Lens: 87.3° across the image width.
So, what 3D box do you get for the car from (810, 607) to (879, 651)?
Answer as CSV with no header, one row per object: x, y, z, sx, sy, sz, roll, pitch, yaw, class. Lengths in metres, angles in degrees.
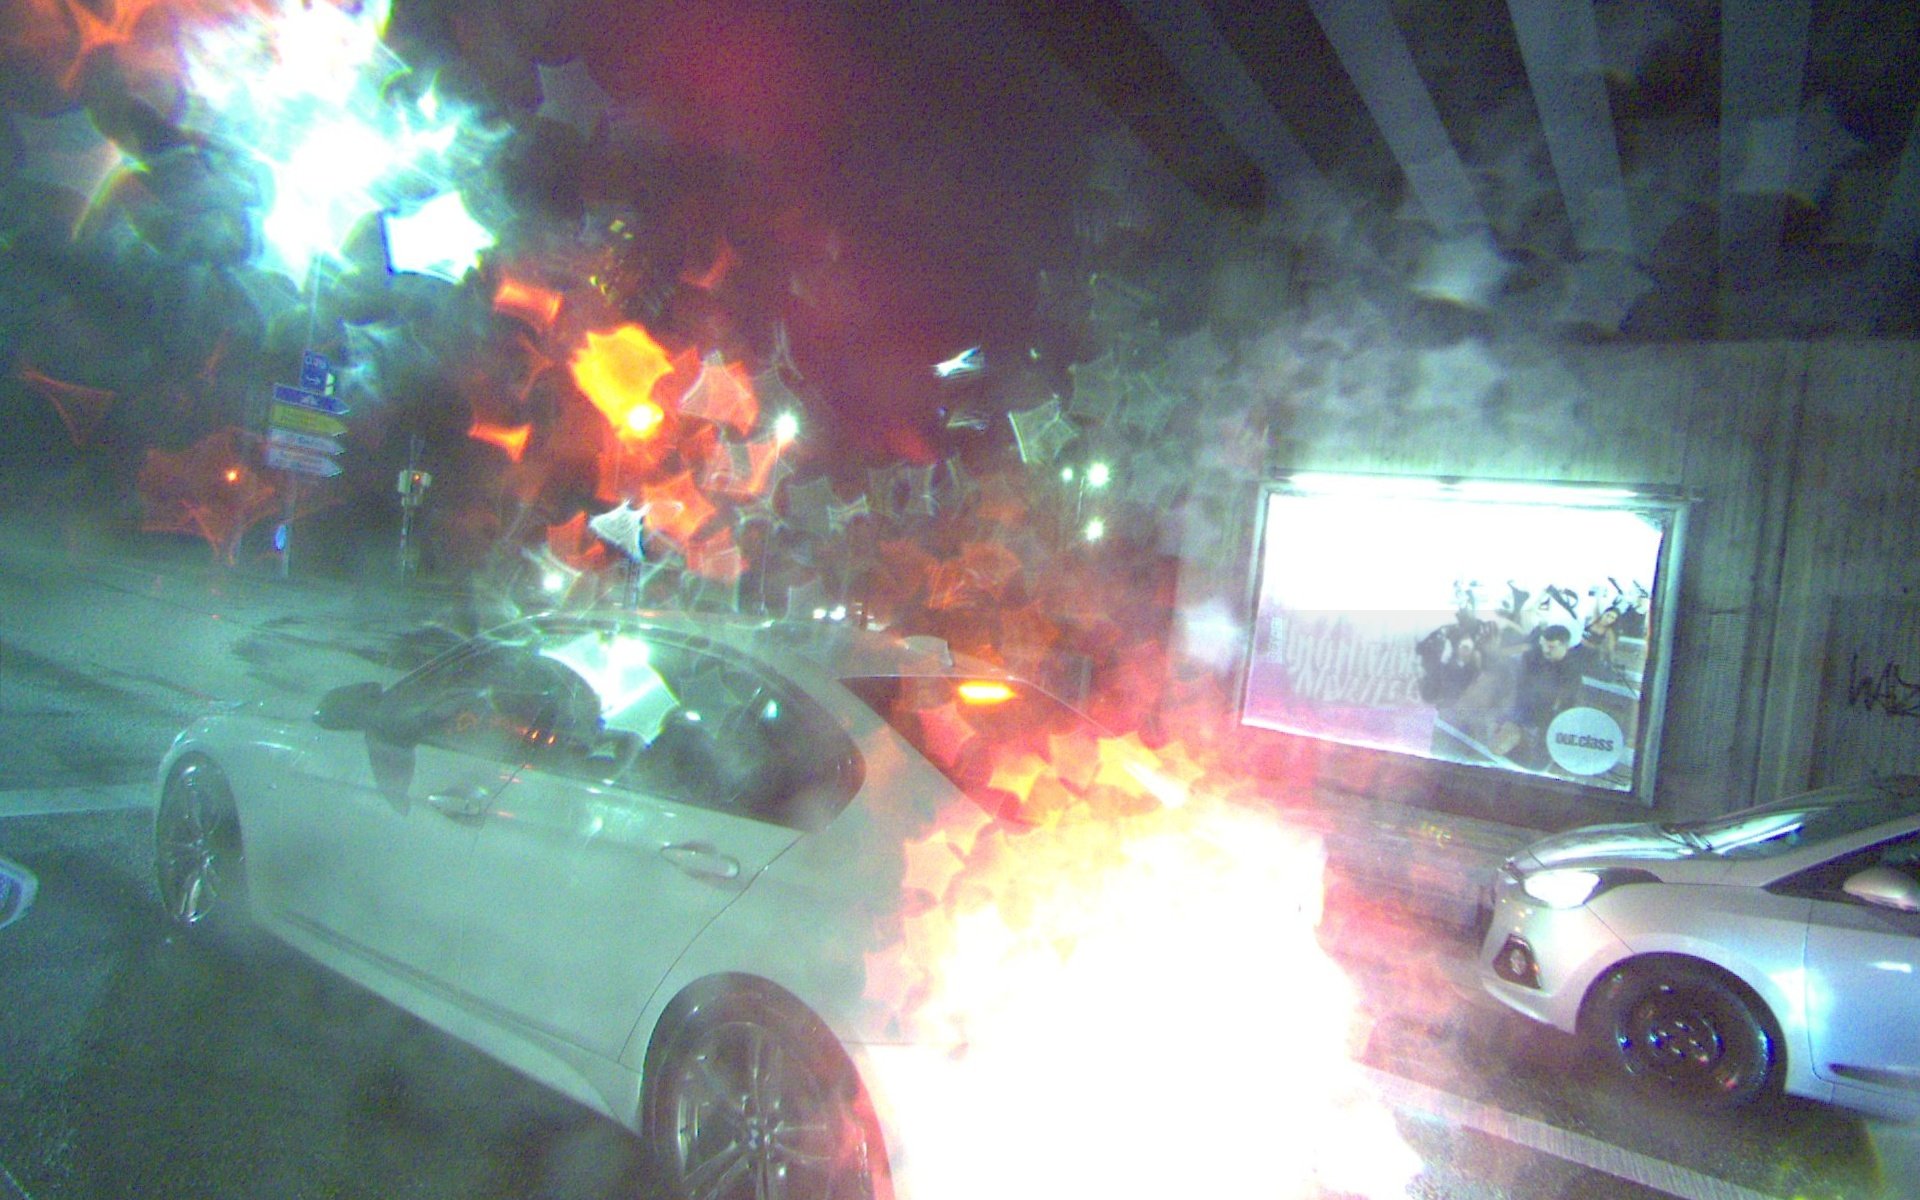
-5.777,1.470,50.664,1.658,1.859,3.427,6,-2,27,car

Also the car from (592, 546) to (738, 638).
-7.859,-0.159,27.129,1.673,2.037,3.568,6,-2,24,car

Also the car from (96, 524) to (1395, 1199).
-0.984,0.689,3.509,4.309,1.465,1.722,6,0,31,car

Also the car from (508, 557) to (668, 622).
-12.780,-0.305,34.877,1.826,1.609,4.850,6,-2,38,car

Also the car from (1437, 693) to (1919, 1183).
4.283,1.399,3.976,4.092,1.465,1.722,6,0,31,car
